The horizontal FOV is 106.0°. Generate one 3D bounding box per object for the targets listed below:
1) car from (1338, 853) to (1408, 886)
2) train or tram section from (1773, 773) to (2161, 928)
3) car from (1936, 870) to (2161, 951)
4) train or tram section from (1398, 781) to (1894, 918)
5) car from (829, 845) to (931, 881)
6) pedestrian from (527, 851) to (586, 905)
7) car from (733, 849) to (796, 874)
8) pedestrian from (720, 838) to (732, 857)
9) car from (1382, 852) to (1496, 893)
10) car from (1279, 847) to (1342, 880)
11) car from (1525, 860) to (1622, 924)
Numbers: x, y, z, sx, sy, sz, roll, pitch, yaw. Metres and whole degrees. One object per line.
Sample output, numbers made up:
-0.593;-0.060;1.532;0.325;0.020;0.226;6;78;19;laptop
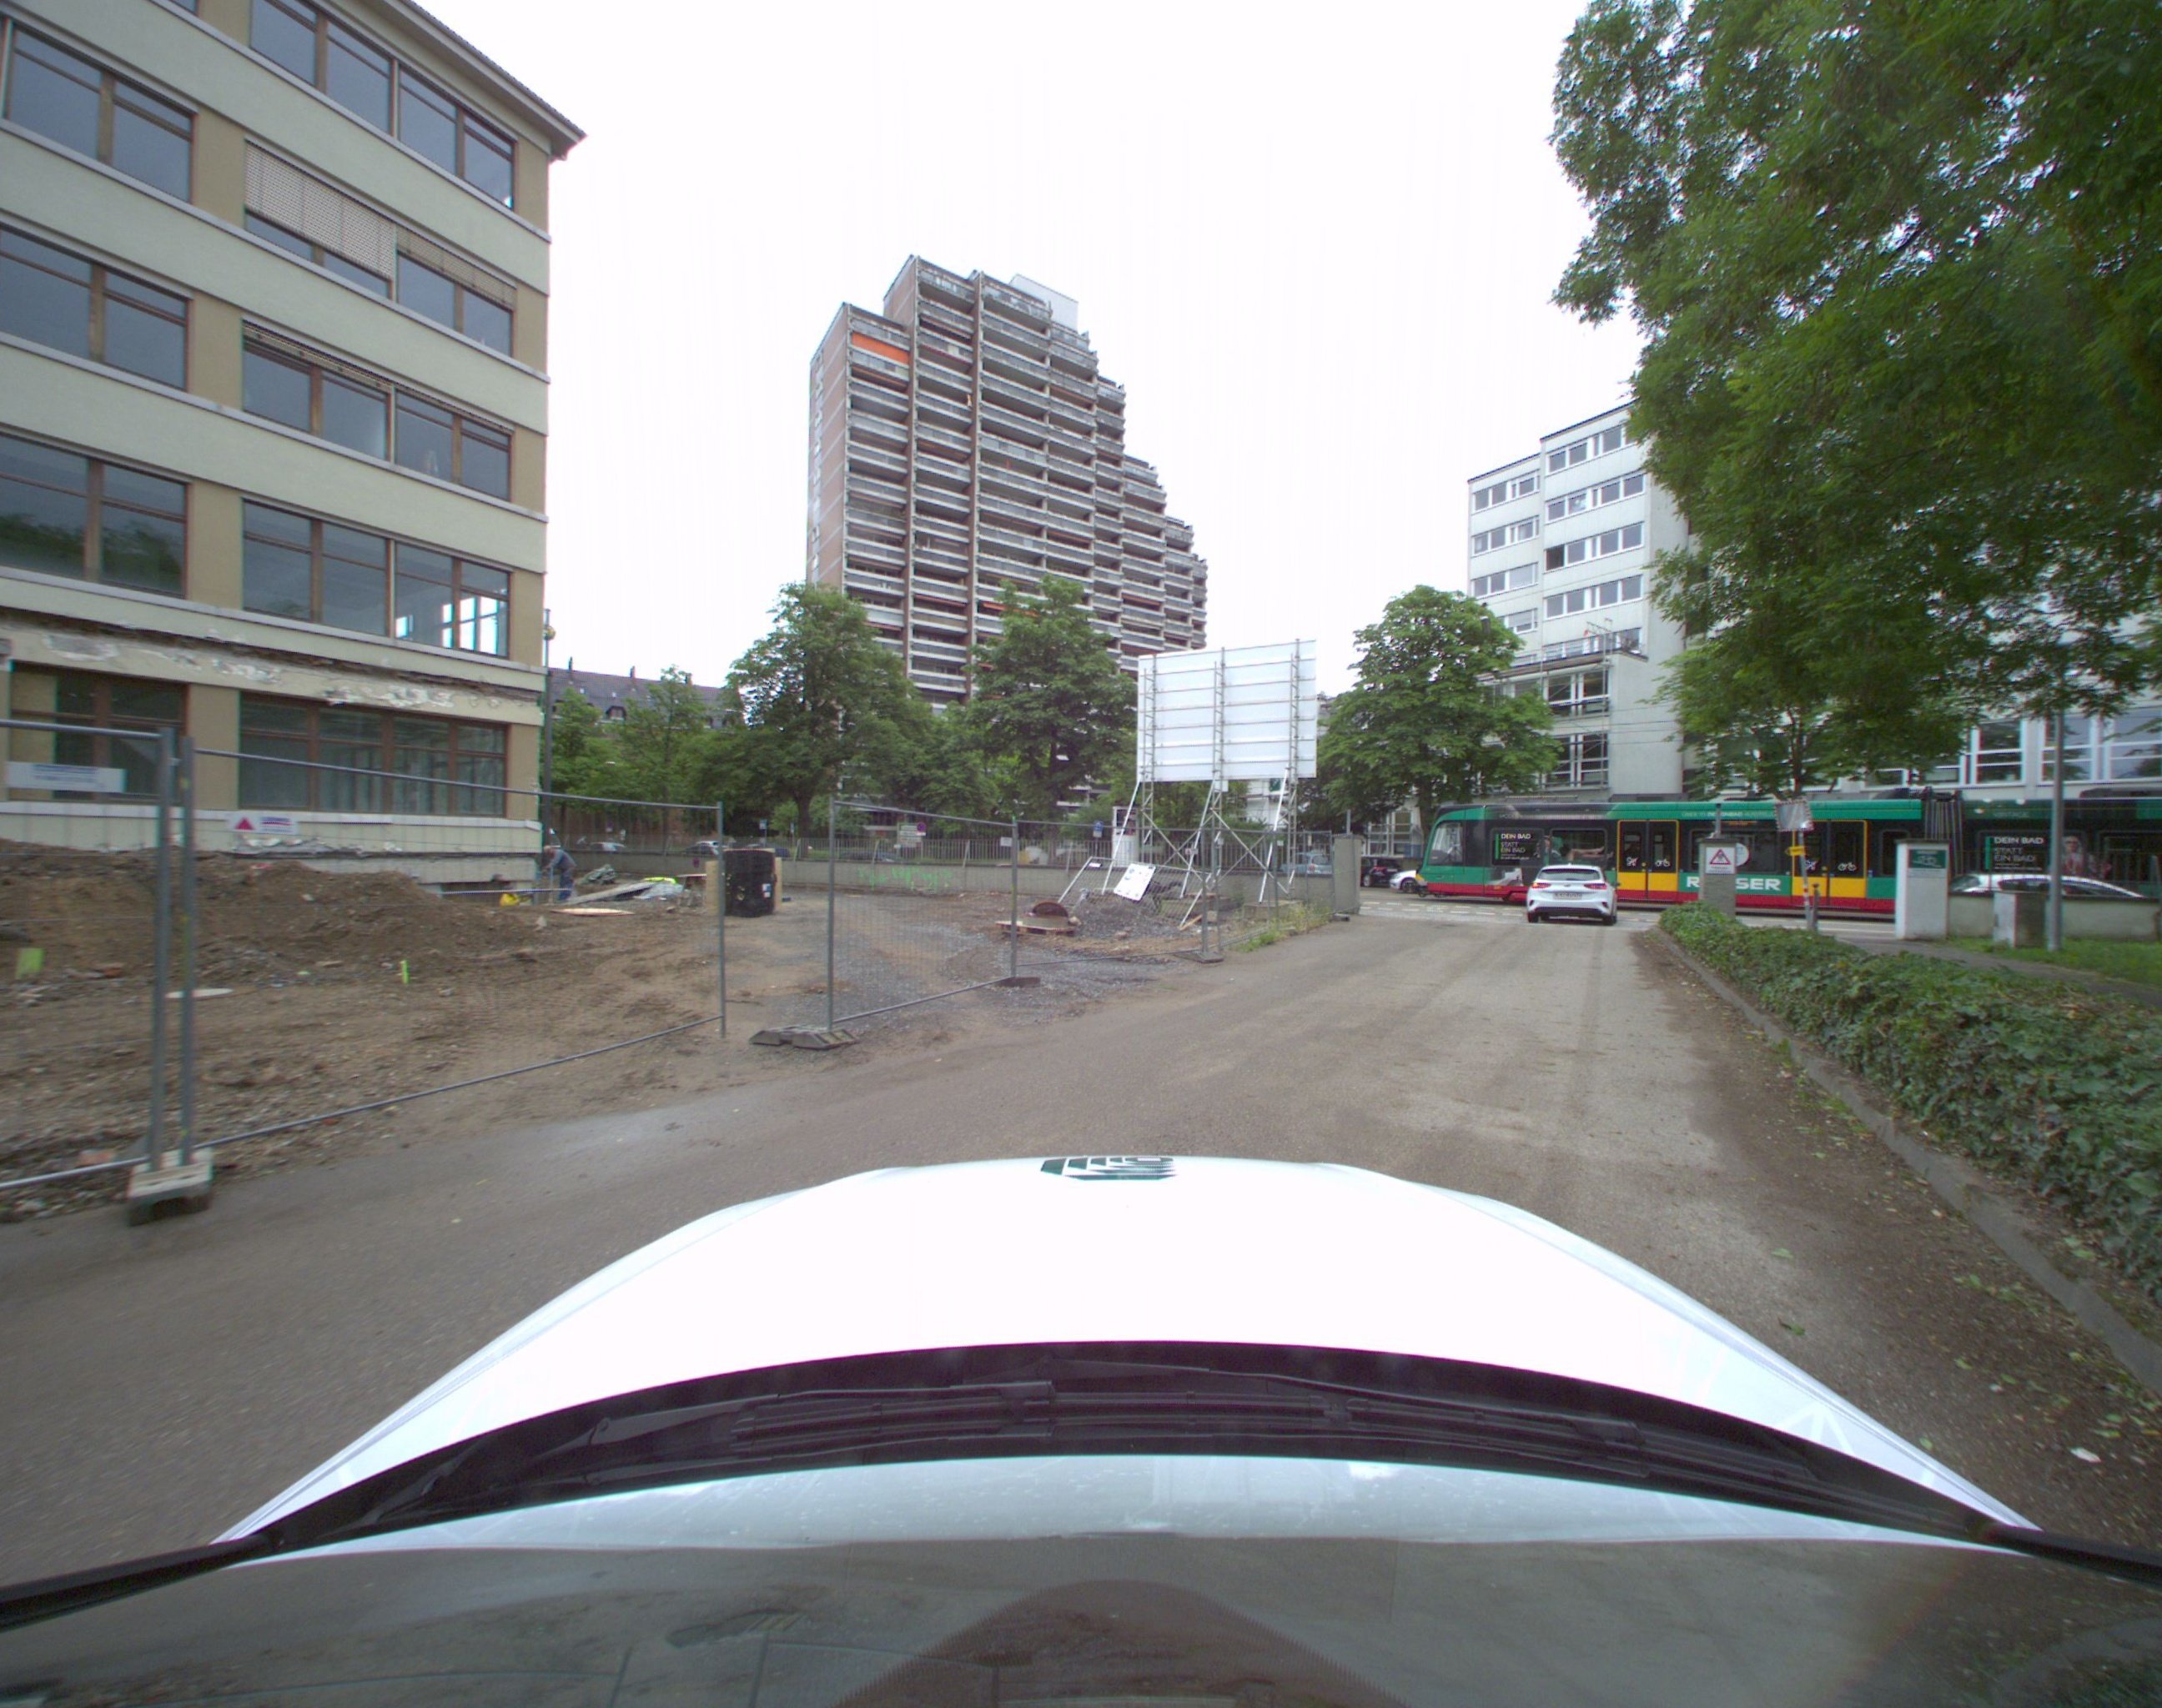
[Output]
13.836;0.725;38.768;1.615;1.511;3.321;1;0;-14;car
25.660;-0.082;20.482;12.298;3.614;2.685;1;0;30;train or tram section
20.780;1.137;17.116;3.548;1.500;1.676;1;0;31;car
16.764;-0.180;25.686;12.298;3.614;2.685;1;0;30;train or tram section
-8.392;0.354;33.924;3.949;1.418;1.845;1;0;30;car
-14.313;0.639;22.237;0.919;1.438;0.989;0;-1;27;pedestrian
-20.108;0.447;51.739;3.949;1.519;1.613;1;0;30;car
-29.459;-0.559;67.577;0.516;1.527;0.848;1;0;19;pedestrian
14.233;0.696;32.436;3.949;1.519;1.742;1;0;31;car
11.308;0.439;40.318;1.615;1.537;3.321;1;0;-14;car
12.446;0.938;20.463;1.758;1.433;4.003;0;-3;36;car
